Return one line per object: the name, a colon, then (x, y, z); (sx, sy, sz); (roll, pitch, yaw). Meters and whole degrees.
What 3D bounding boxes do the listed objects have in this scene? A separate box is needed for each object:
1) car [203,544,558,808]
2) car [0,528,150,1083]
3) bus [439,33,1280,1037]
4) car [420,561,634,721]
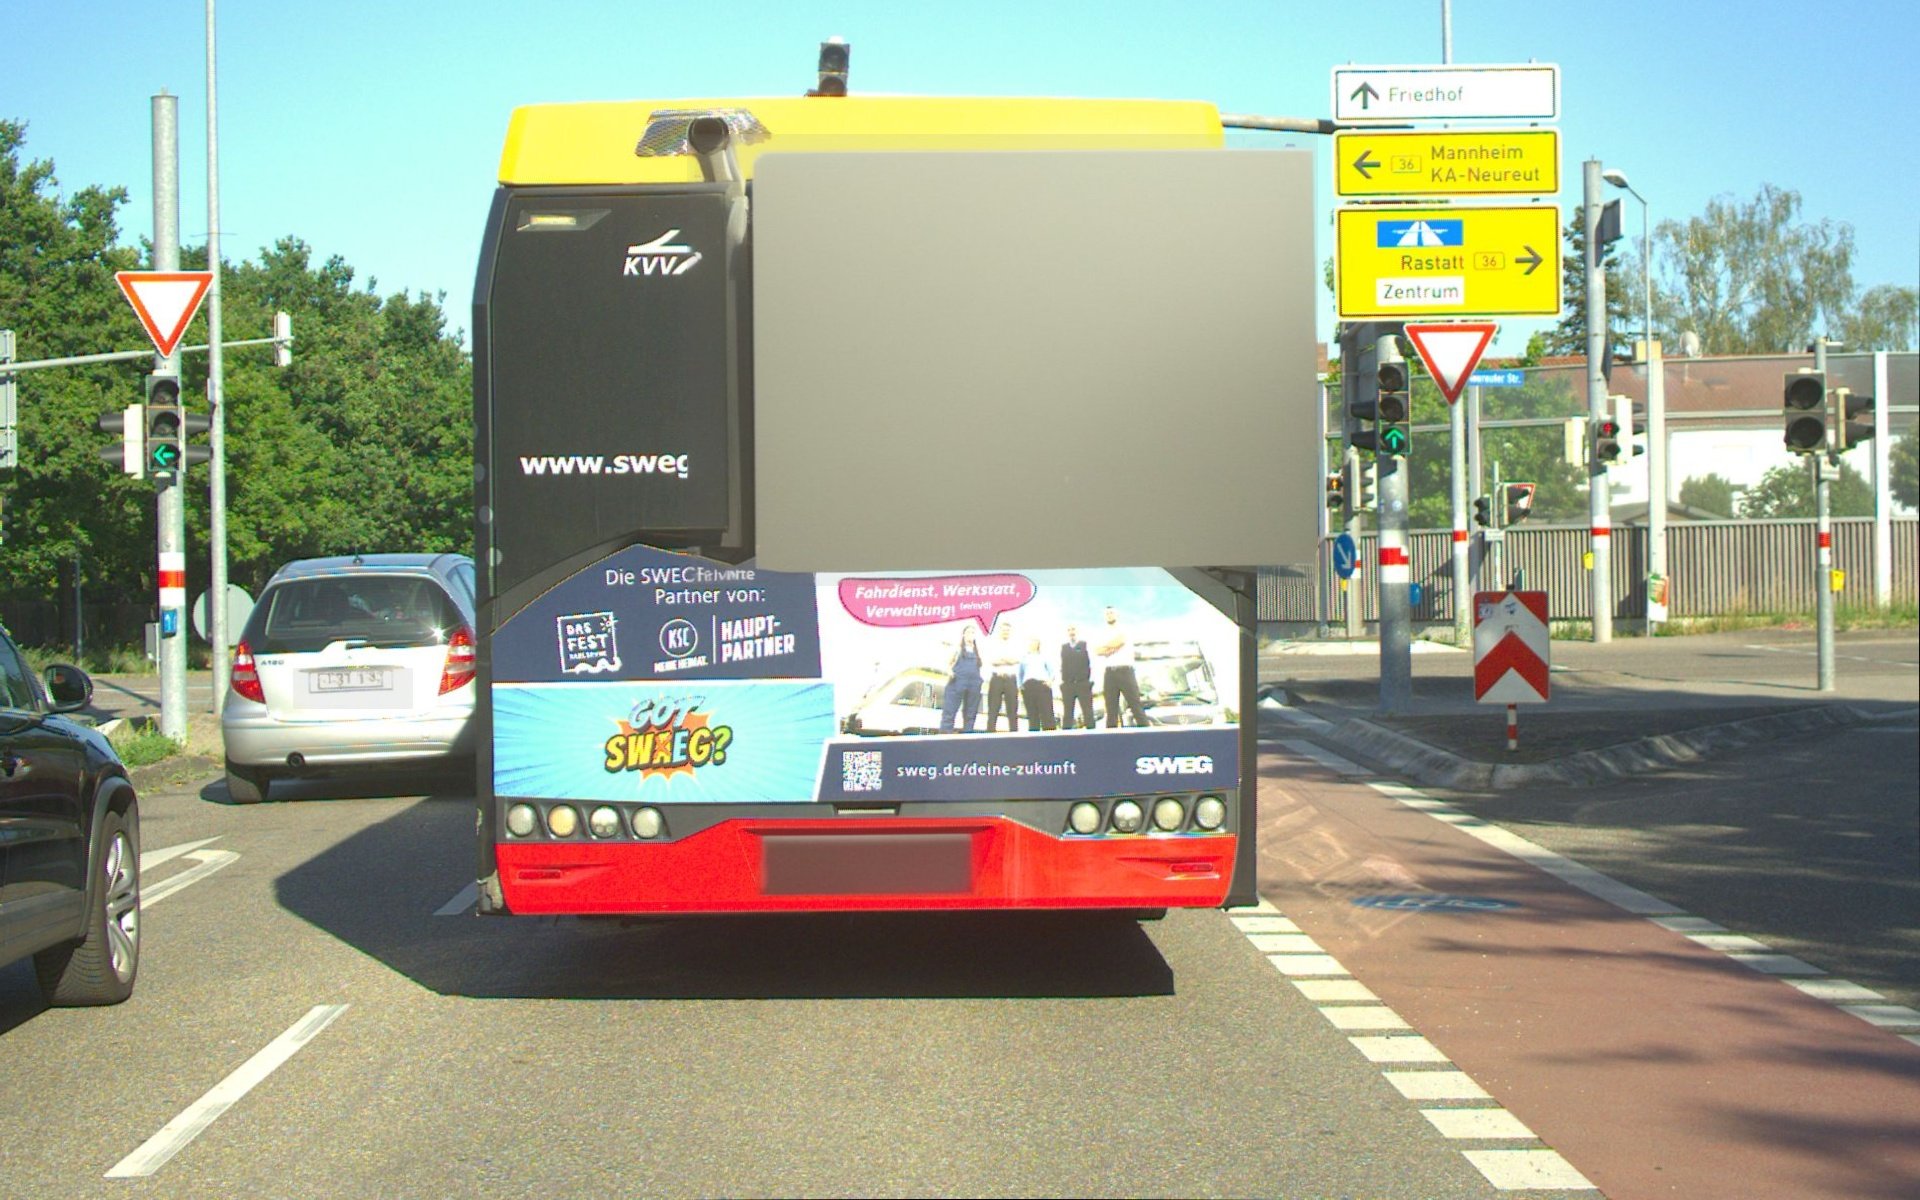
car: (-3.853, 0.450, 23.484); (1.761, 1.584, 4.000); (-2, 1, -1)
car: (-3.769, 0.641, 10.343); (1.772, 1.648, 4.000); (-2, 1, -2)
bus: (-0.334, -0.305, 16.778); (2.642, 3.156, 11.861); (0, 1, 0)
car: (-4.274, 0.365, 34.413); (1.692, 1.453, 3.751); (-2, 1, -1)
